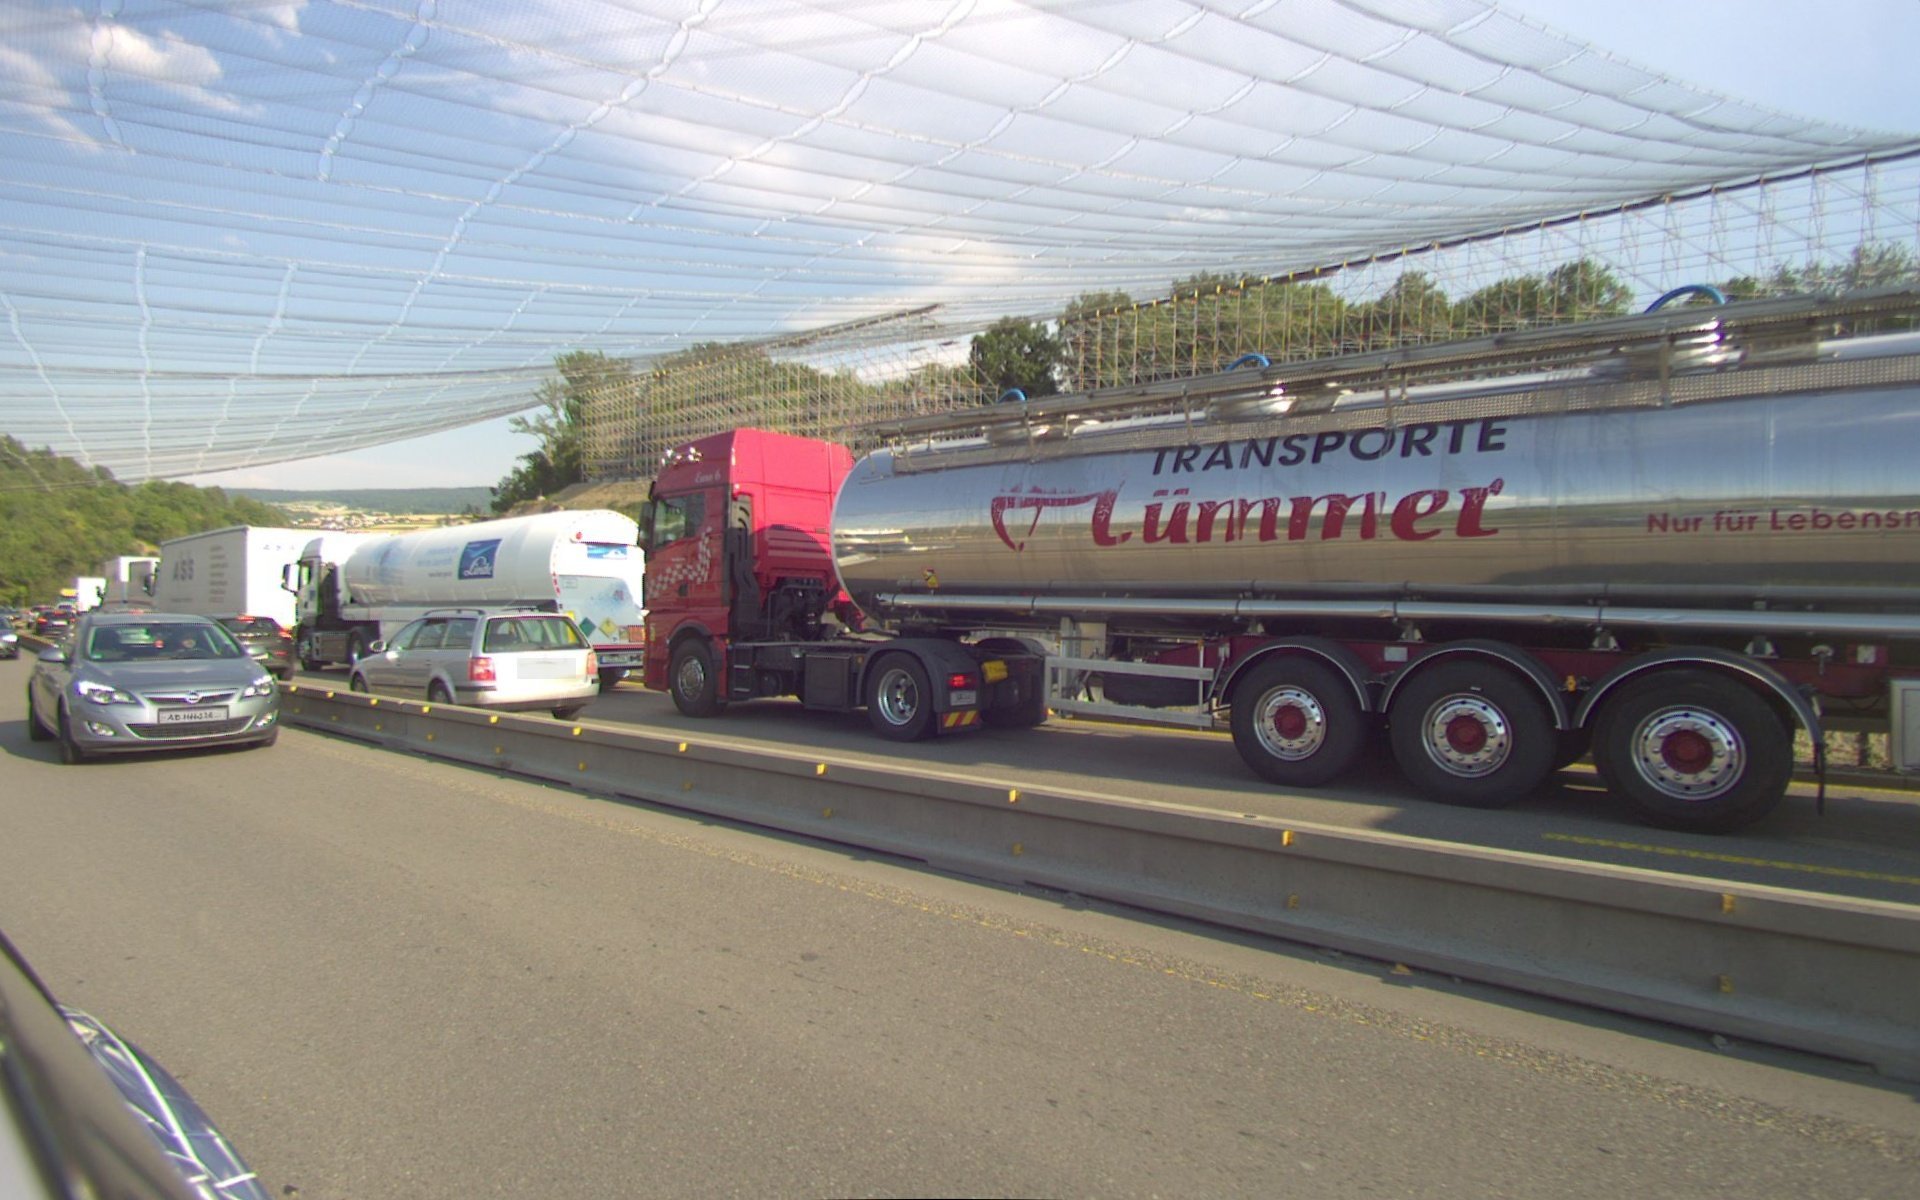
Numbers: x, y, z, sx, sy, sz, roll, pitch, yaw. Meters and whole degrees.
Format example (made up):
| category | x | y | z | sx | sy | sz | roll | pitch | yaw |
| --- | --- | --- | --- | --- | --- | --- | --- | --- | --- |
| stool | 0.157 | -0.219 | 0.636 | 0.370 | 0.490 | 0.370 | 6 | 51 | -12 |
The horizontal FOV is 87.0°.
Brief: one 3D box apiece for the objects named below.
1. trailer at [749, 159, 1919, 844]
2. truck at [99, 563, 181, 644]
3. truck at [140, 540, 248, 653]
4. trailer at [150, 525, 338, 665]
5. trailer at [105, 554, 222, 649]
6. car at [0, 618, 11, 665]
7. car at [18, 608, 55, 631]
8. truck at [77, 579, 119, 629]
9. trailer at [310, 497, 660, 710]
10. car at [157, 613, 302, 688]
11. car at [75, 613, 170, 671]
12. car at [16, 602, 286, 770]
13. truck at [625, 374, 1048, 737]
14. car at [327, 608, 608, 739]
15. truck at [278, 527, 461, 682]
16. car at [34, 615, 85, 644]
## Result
| category | x | y | z | sx | sy | sz | roll | pitch | yaw |
| --- | --- | --- | --- | --- | --- | --- | --- | --- | --- |
| trailer | 2.688 | -0.524 | 9.432 | 12.045 | 3.819 | 2.283 | 0 | -1 | 41 |
| truck | -42.813 | 0.174 | 52.759 | 2.601 | 3.939 | 7.209 | 0 | -1 | -45 |
| truck | -29.859 | -0.119 | 39.391 | 5.618 | 4.076 | 2.446 | 0 | -1 | 43 |
| trailer | -24.869 | -0.104 | 34.639 | 14.098 | 3.993 | 2.401 | 0 | -1 | 43 |
| trailer | -38.291 | 0.098 | 48.378 | 13.337 | 4.046 | 2.640 | 0 | -1 | 44 |
| car | -30.648 | 1.263 | 31.382 | 1.739 | 1.394 | 3.826 | 0 | -1 | -44 |
| car | -66.985 | 1.375 | 73.374 | 4.368 | 1.580 | 1.788 | 0 | -1 | 45 |
| truck | -78.041 | 0.389 | 91.496 | 2.688 | 4.259 | 14.187 | 0 | -1 | -41 |
| trailer | -10.450 | 0.093 | 21.068 | 12.052 | 3.387 | 2.282 | 0 | -1 | 43 |
| car | -15.804 | 1.015 | 21.813 | 4.386 | 1.437 | 1.610 | 0 | -1 | 41 |
| car | -24.938 | 1.182 | 30.100 | 3.943 | 1.599 | 1.731 | 0 | -1 | 44 |
| car | -8.975 | 0.777 | 11.084 | 4.353 | 1.484 | 1.736 | 0 | -1 | 44 |
| truck | -1.820 | -0.455 | 13.376 | 5.613 | 3.813 | 2.407 | 0 | -1 | 40 |
| car | -6.566 | 0.822 | 13.222 | 4.655 | 1.437 | 1.610 | 0 | -1 | 41 |
| truck | -14.654 | 0.110 | 24.960 | 5.617 | 3.395 | 2.387 | 0 | -1 | 43 |
| car | -45.204 | 1.454 | 50.796 | 3.901 | 1.386 | 1.589 | 0 | -1 | 43 |
